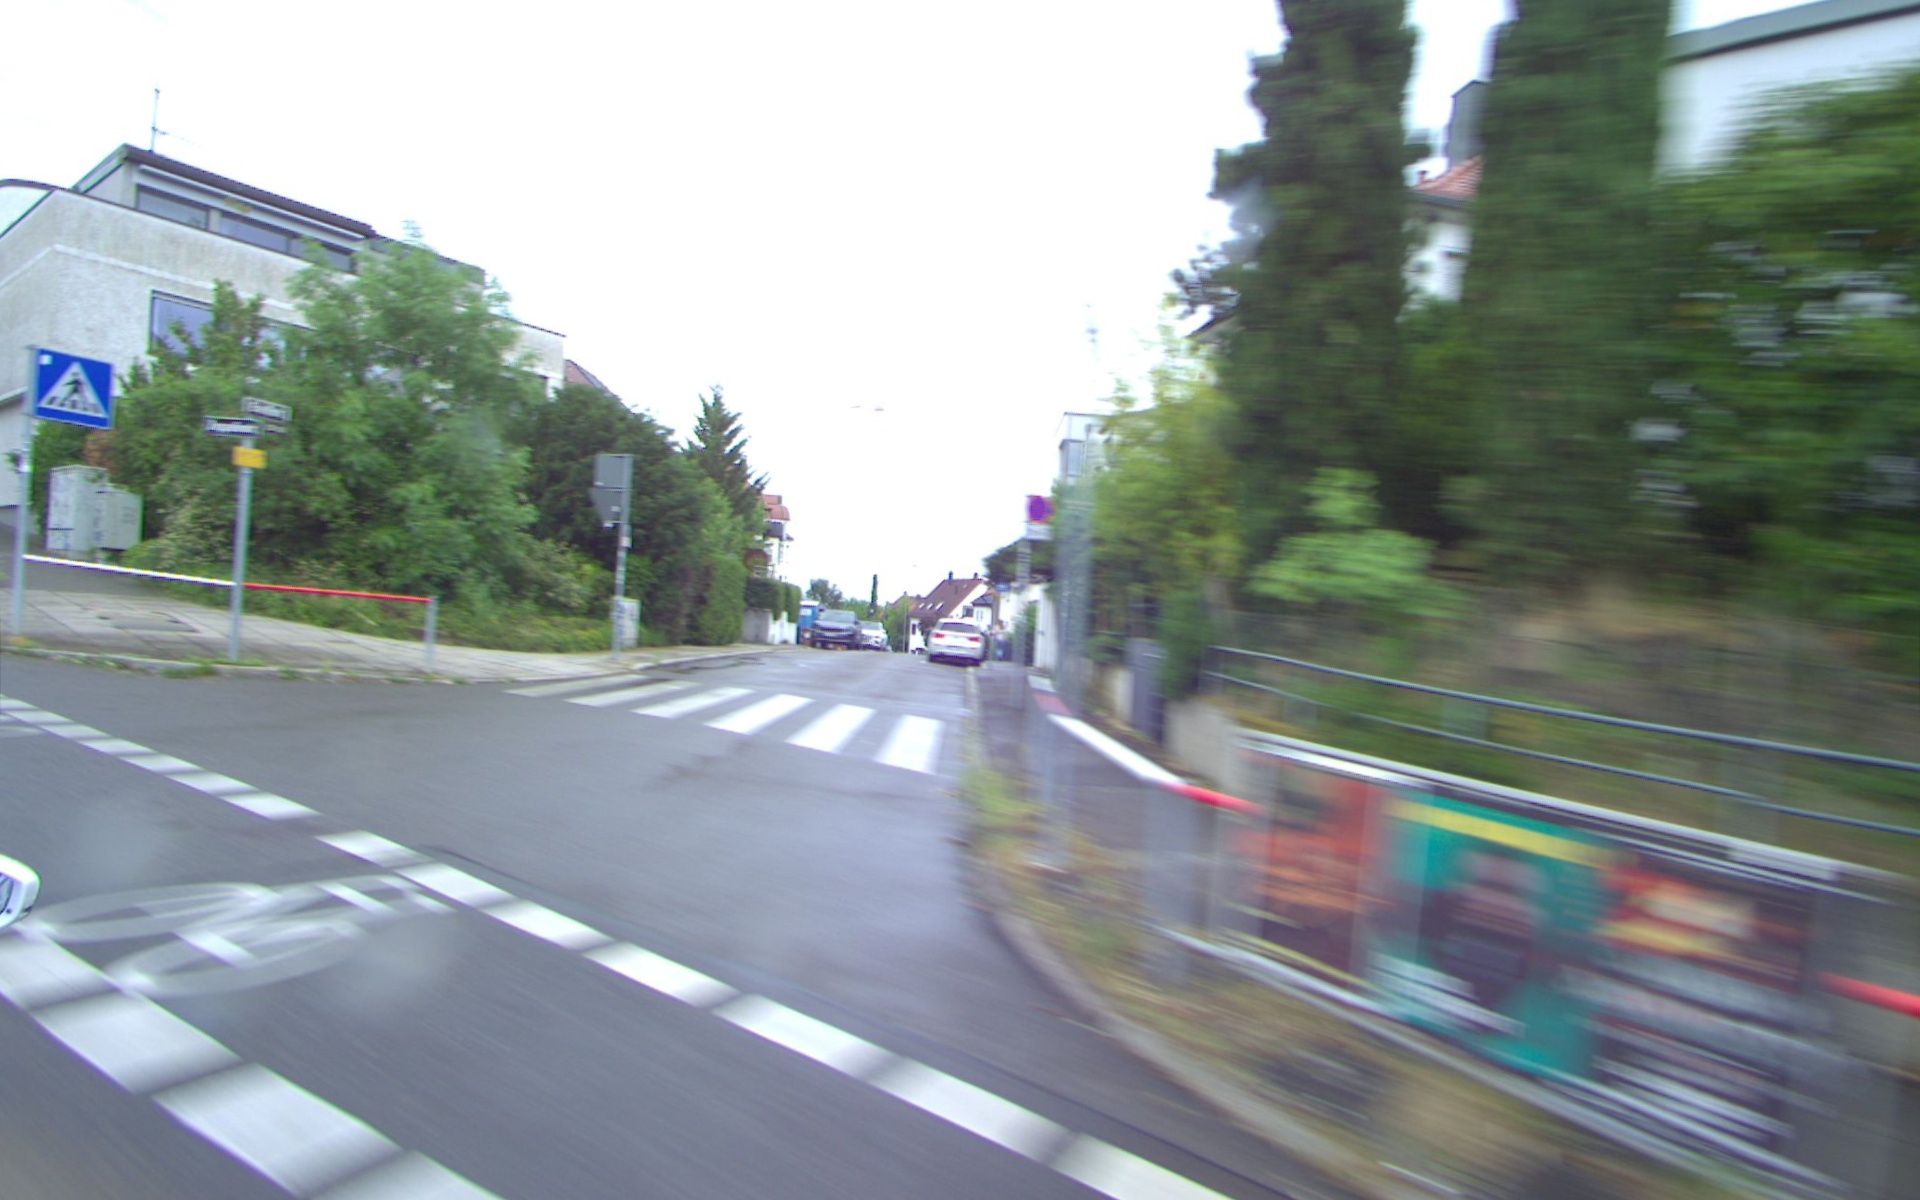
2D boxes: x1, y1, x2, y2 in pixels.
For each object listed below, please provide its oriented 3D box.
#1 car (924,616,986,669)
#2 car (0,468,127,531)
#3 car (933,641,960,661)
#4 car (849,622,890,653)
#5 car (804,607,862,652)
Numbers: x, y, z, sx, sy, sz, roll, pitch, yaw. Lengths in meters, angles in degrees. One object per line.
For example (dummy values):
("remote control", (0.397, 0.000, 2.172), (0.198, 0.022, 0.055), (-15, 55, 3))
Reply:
("car", (-0.166, 1.378, 33.666), (1.831, 1.451, 3.999), (6, 0, 0))
("car", (-27.793, -3.104, 30.327), (3.968, 1.432, 1.707), (7, 0, -39))
("car", (-0.979, 3.756, 74.702), (1.831, 1.246, 4.003), (6, -2, 0))
("car", (-5.038, 2.138, 56.489), (1.963, 1.525, 4.004), (4, -3, -2))
("car", (-5.310, 1.292, 42.606), (1.963, 1.614, 4.004), (4, -3, -2))
